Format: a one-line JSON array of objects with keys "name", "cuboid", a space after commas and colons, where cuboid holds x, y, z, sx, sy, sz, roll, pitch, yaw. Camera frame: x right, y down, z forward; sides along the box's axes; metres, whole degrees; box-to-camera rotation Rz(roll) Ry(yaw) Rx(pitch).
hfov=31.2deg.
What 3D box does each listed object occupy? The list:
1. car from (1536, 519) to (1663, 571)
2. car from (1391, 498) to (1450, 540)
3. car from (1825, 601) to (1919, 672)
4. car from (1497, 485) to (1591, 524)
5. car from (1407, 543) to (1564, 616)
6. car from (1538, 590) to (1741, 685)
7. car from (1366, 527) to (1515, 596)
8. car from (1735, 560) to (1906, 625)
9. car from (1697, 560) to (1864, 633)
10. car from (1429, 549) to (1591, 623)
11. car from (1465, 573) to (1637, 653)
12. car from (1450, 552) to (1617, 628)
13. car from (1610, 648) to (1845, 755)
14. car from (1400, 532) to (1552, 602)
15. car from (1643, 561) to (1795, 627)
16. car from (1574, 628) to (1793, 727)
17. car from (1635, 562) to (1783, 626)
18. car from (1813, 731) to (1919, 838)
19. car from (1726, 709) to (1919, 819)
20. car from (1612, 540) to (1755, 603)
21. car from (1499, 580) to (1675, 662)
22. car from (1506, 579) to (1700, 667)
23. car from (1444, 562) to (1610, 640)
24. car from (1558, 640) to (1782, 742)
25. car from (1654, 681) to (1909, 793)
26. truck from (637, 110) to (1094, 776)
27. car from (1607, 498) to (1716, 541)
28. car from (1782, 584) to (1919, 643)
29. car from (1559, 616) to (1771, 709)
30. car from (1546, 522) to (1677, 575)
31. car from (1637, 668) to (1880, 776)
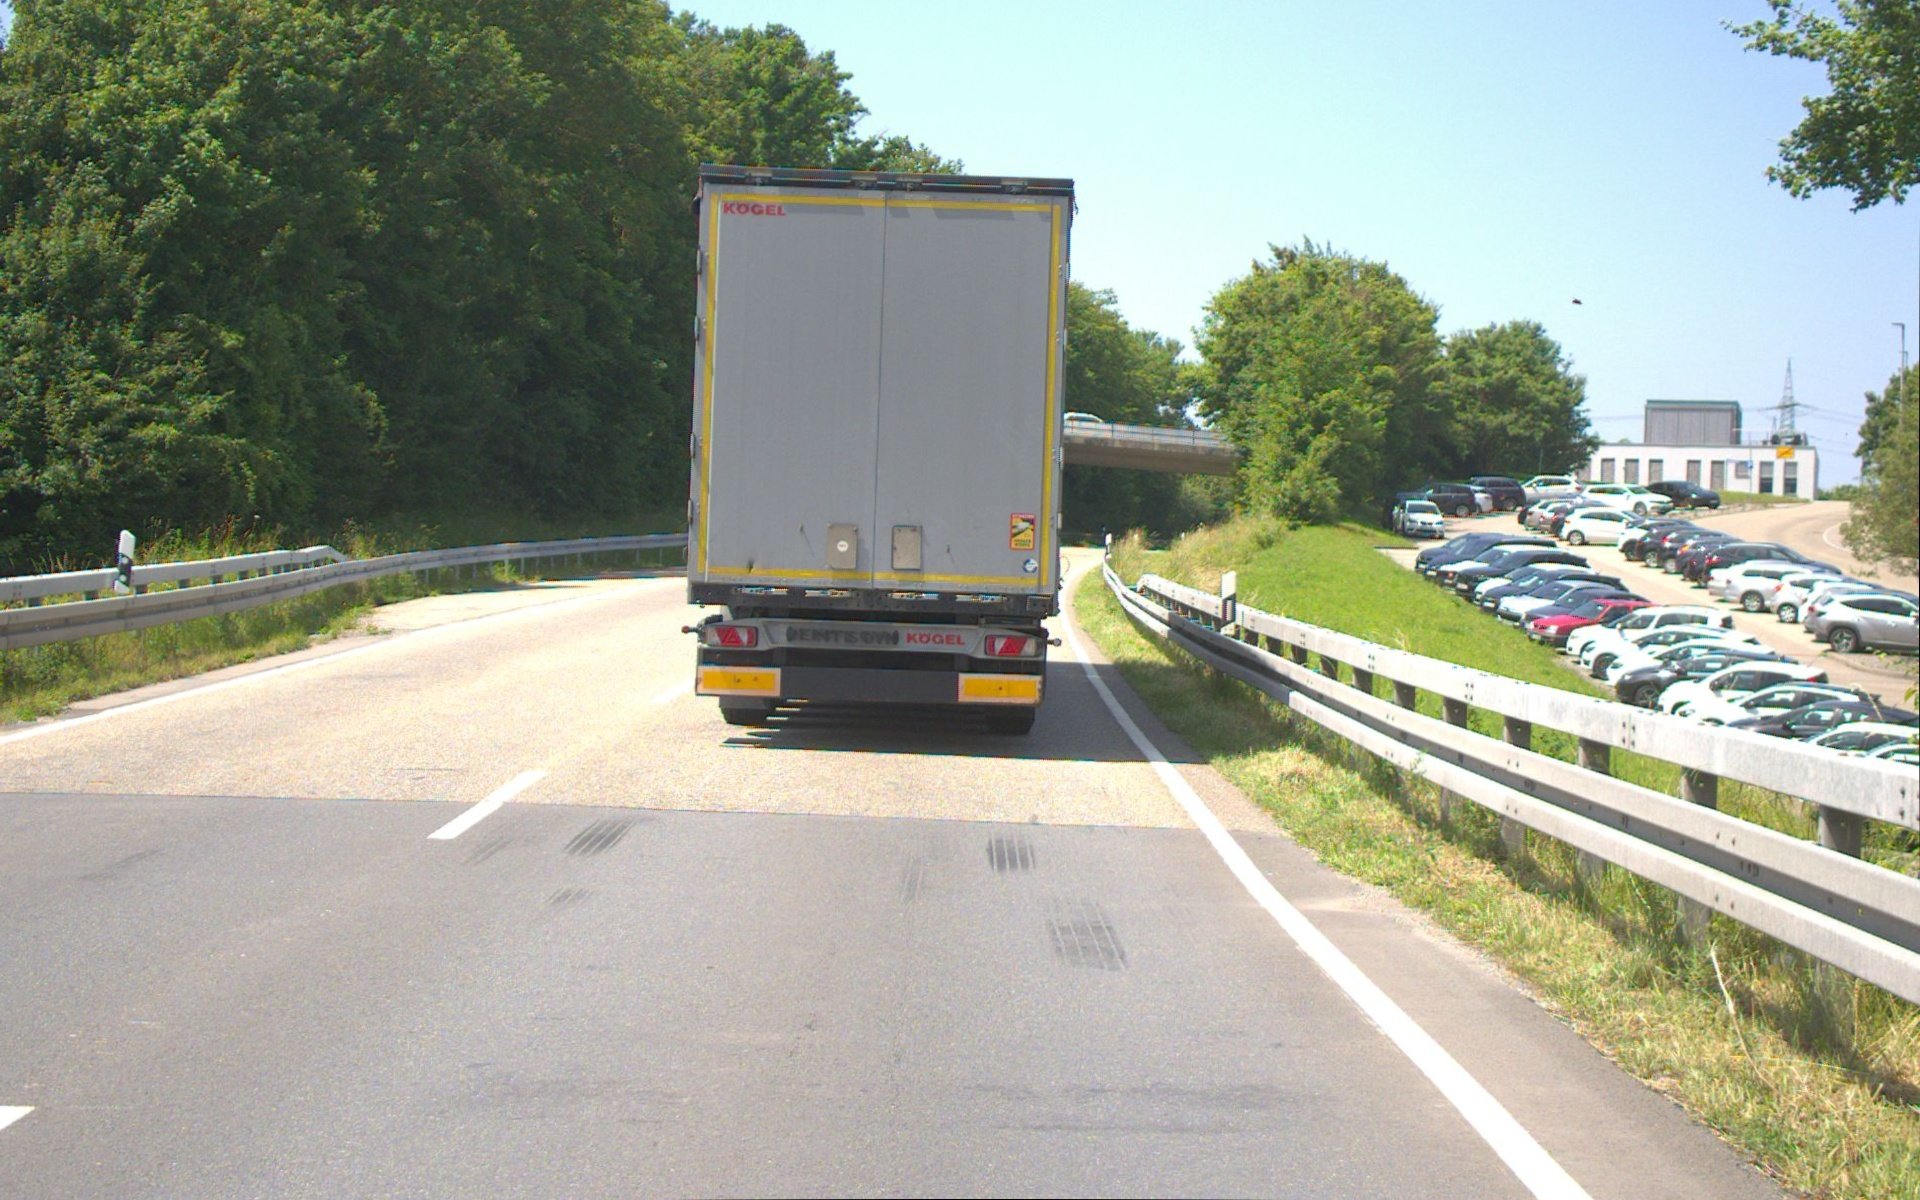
[{"name": "car", "cuboid": [25.413, -2.192, 136.629, 4.578, 1.623, 1.818, 7, 3, 23]}, {"name": "car", "cuboid": [18.592, -3.286, 138.915, 1.624, 1.349, 3.712, 7, 4, -2]}, {"name": "car", "cuboid": [25.558, 1.030, 91.480, 4.579, 1.623, 1.818, 4, 5, 27]}, {"name": "car", "cuboid": [29.923, -4.897, 176.126, 4.362, 1.679, 1.889, 1, 6, -26]}, {"name": "car", "cuboid": [16.371, -0.637, 107.187, 4.362, 1.679, 1.889, 5, 4, -26]}, {"name": "car", "cuboid": [16.783, 0.908, 84.916, 4.452, 1.679, 1.886, 9, 4, 24]}, {"name": "car", "cuboid": [15.825, -1.261, 113.187, 4.362, 1.679, 1.889, 5, 4, -26]}, {"name": "car", "cuboid": [25.869, -0.248, 103.418, 4.581, 1.514, 1.817, 5, 6, 33]}, {"name": "car", "cuboid": [25.580, -0.125, 107.205, 4.580, 1.623, 1.817, 9, 4, 28]}, {"name": "car", "cuboid": [16.625, -0.427, 103.976, 4.362, 1.679, 1.889, 5, 4, -26]}, {"name": "car", "cuboid": [16.127, 0.370, 93.797, 4.363, 1.679, 1.889, 5, 5, -35]}, {"name": "car", "cuboid": [16.794, -0.289, 100.713, 4.362, 1.679, 1.889, 5, 4, -26]}, {"name": "car", "cuboid": [16.270, 2.126, 72.903, 4.370, 1.553, 1.859, 9, 4, 26]}, {"name": "car", "cuboid": [16.574, -1.046, 110.453, 4.362, 1.679, 1.889, 5, 4, -26]}, {"name": "car", "cuboid": [26.022, -0.212, 117.887, 4.580, 1.623, 1.817, 9, 4, 28]}, {"name": "car", "cuboid": [16.407, 1.740, 77.941, 4.370, 1.553, 1.885, 9, 4, 26]}, {"name": "car", "cuboid": [26.314, -0.212, 120.860, 4.580, 1.623, 1.817, 9, 4, 28]}, {"name": "car", "cuboid": [17.303, 3.404, 60.298, 4.119, 1.512, 1.677, 9, 4, 25]}, {"name": "car", "cuboid": [16.659, 3.080, 63.603, 4.371, 1.389, 1.816, 9, 4, 29]}, {"name": "car", "cuboid": [26.070, -1.020, 123.910, 4.580, 1.623, 1.817, 9, 4, 28]}, {"name": "car", "cuboid": [16.637, 0.566, 91.166, 4.363, 1.679, 1.889, 5, 5, -35]}, {"name": "car", "cuboid": [16.540, 0.591, 88.430, 4.361, 1.679, 1.889, 6, 4, -20]}, {"name": "car", "cuboid": [16.062, 0.035, 97.363, 4.363, 1.679, 1.889, 5, 5, -35]}, {"name": "car", "cuboid": [15.701, 1.989, 76.062, 4.370, 1.553, 1.885, 9, 4, 26]}, {"name": "car", "cuboid": [16.045, 2.649, 67.164, 4.371, 1.451, 1.816, 9, 4, 29]}, {"name": "truck", "cuboid": [-0.677, -1.184, 28.073, 2.866, 4.344, 9.790, 3, 2, -1]}, {"name": "car", "cuboid": [32.968, -3.779, 161.656, 4.582, 1.623, 1.816, 6, 2, 36]}, {"name": "car", "cuboid": [26.486, 0.389, 100.209, 4.578, 1.472, 1.818, 2, 5, 27]}, {"name": "car", "cuboid": [16.704, 1.462, 81.525, 4.372, 1.553, 1.885, 10, 4, 31]}, {"name": "car", "cuboid": [25.396, -2.005, 134.018, 4.578, 1.623, 1.818, 6, 3, 23]}, {"name": "car", "cuboid": [16.221, 2.455, 69.850, 4.370, 1.451, 1.816, 9, 4, 26]}]
